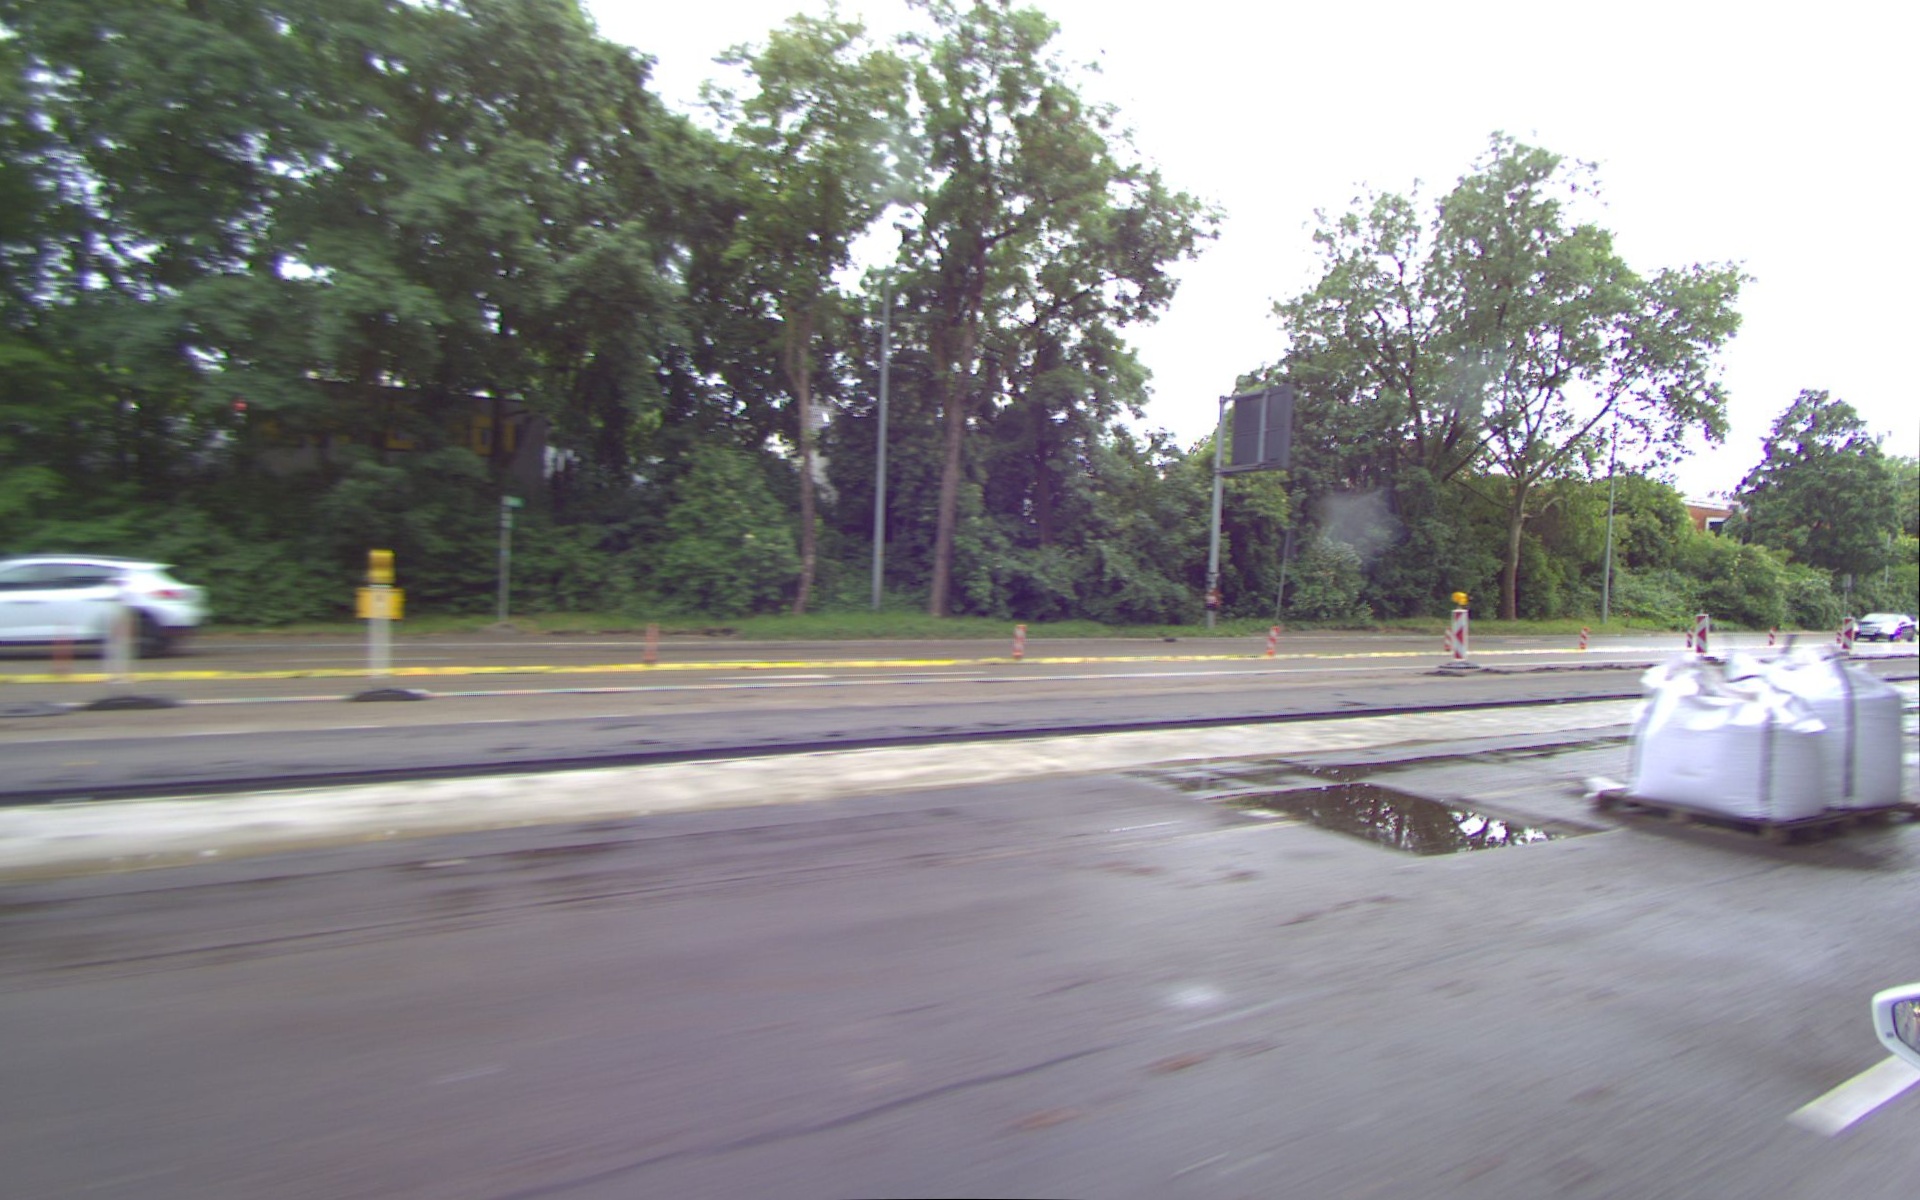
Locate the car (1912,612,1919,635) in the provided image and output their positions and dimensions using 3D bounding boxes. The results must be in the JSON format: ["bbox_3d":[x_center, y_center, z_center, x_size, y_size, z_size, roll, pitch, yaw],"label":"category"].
[{"bbox_3d":[62.035,1.553,63.372,4.552,1.439,1.807,1,2,-33],"label":"car"}]

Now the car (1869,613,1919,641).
[{"bbox_3d":[49.122,1.393,52.146,4.159,1.373,1.807,1,0,-33],"label":"car"}]

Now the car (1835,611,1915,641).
[{"bbox_3d":[44.415,1.244,48.756,4.342,1.373,1.807,1,0,-33],"label":"car"}]

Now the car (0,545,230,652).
[{"bbox_3d":[-13.983,-0.002,15.580,4.109,1.561,1.658,1,-1,-31],"label":"car"}]
